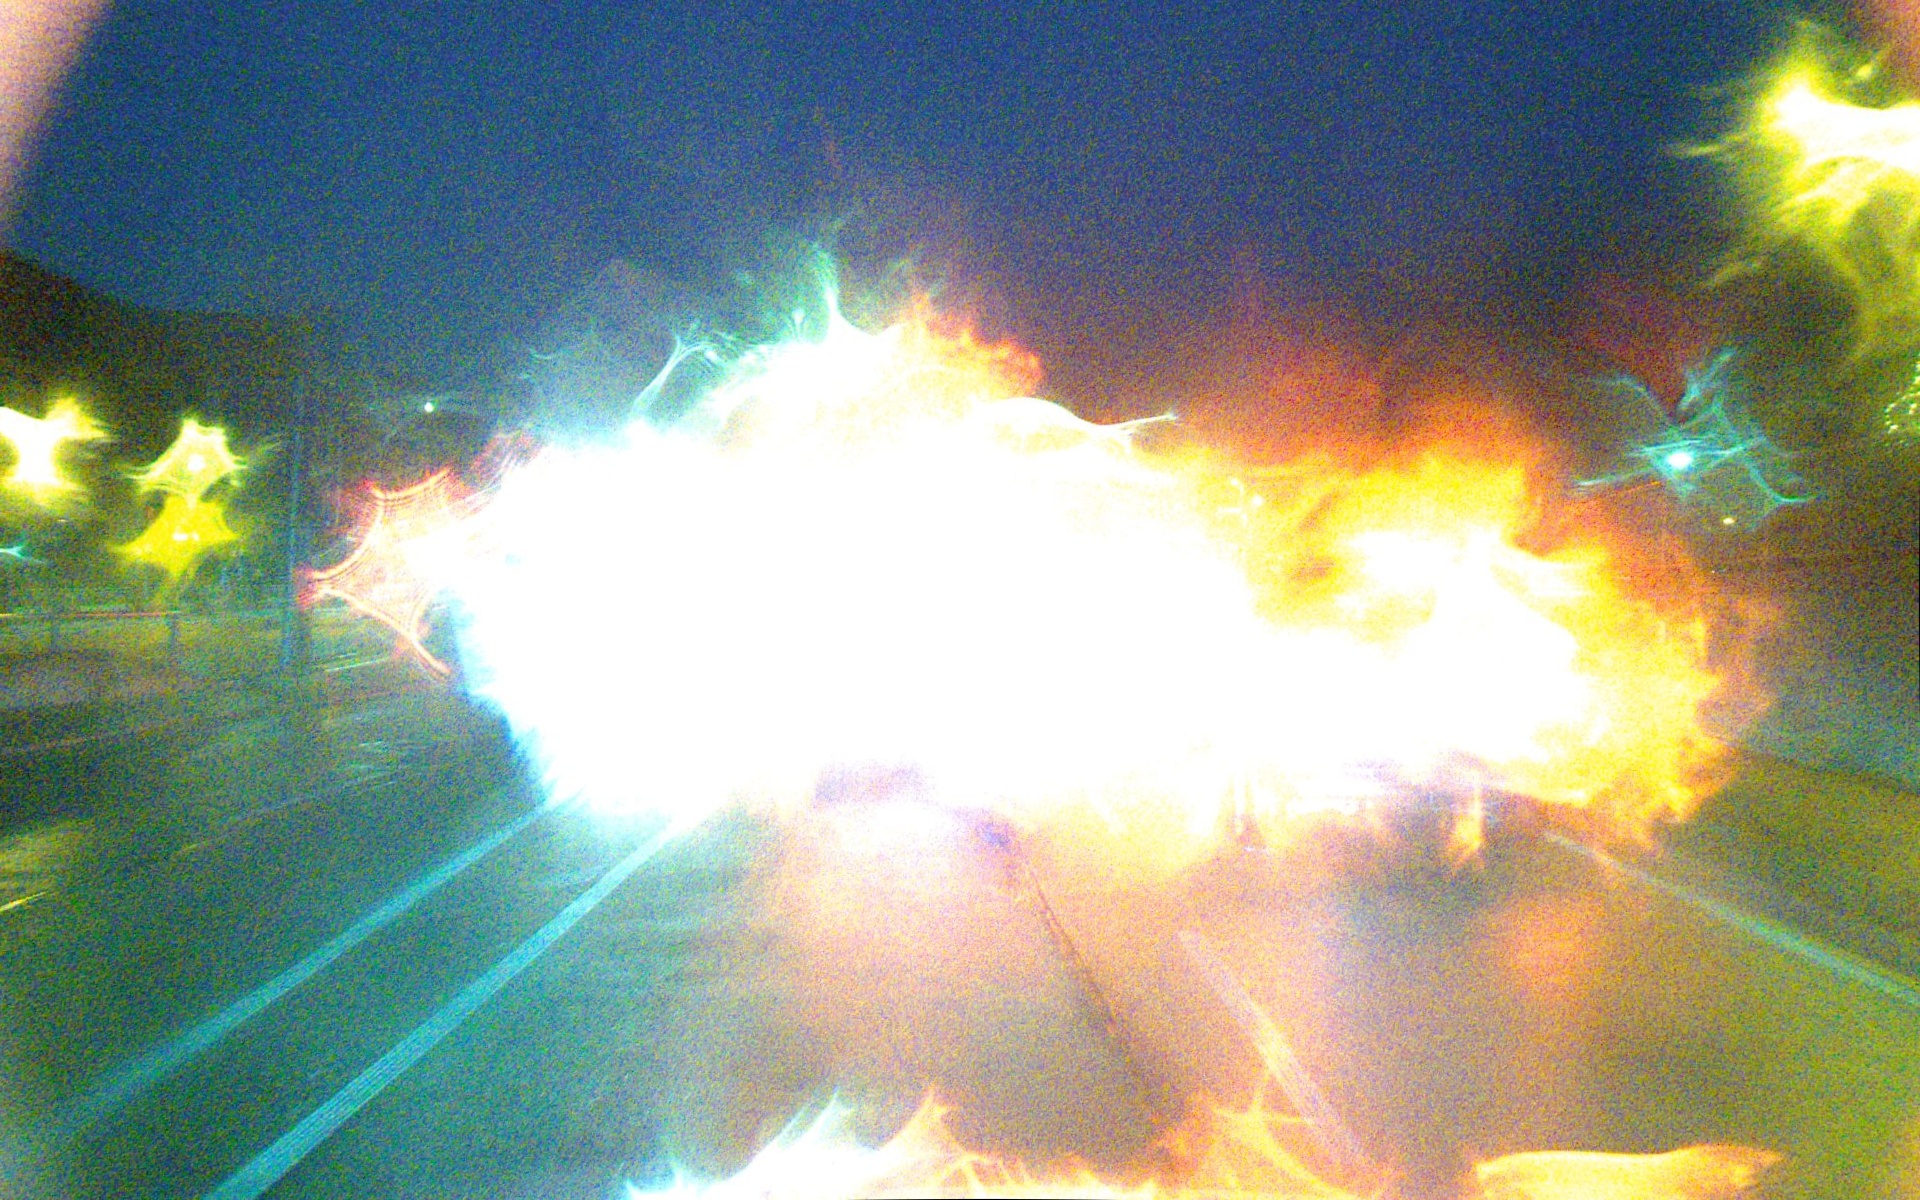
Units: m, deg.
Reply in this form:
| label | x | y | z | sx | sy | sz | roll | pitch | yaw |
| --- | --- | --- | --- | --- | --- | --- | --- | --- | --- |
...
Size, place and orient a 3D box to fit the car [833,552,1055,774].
| label | x | y | z | sx | sy | sz | roll | pitch | yaw |
| --- | --- | --- | --- | --- | --- | --- | --- | --- | --- |
| car | -0.130 | 0.485 | 14.549 | 1.660 | 1.658 | 3.852 | 1 | 0 | 0 |

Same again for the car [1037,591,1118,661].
| label | x | y | z | sx | sy | sz | roll | pitch | yaw |
| --- | --- | --- | --- | --- | --- | --- | --- | --- | --- |
| car | 2.583 | 0.563 | 37.016 | 1.629 | 1.475 | 4.050 | 0 | 0 | 2 |

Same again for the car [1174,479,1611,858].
| label | x | y | z | sx | sy | sz | roll | pitch | yaw |
| --- | --- | --- | --- | --- | --- | --- | --- | --- | --- |
| car | 2.586 | 0.339 | 10.969 | 1.902 | 2.006 | 4.219 | 1 | 1 | 2 |

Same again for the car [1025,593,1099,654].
| label | x | y | z | sx | sy | sz | roll | pitch | yaw |
| --- | --- | --- | --- | --- | --- | --- | --- | --- | --- |
| car | 2.630 | 0.577 | 43.459 | 1.629 | 1.475 | 4.049 | 1 | 1 | -1 |

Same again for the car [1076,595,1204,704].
| label | x | y | z | sx | sy | sz | roll | pitch | yaw |
| --- | --- | --- | --- | --- | --- | --- | --- | --- | --- |
| car | 2.696 | 0.692 | 25.546 | 1.731 | 1.475 | 4.220 | 1 | 1 | 3 |

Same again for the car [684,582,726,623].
| label | x | y | z | sx | sy | sz | roll | pitch | yaw |
| --- | --- | --- | --- | --- | --- | --- | --- | --- | --- |
| car | -12.662 | 0.097 | 81.953 | 1.957 | 1.945 | 4.732 | 1 | 0 | -9 |

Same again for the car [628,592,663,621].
| label | x | y | z | sx | sy | sz | roll | pitch | yaw |
| --- | --- | --- | --- | --- | --- | --- | --- | --- | --- |
| car | -21.269 | 0.418 | 111.807 | 1.960 | 1.925 | 4.724 | 0 | 0 | -15 |

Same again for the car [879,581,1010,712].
| label | x | y | z | sx | sy | sz | roll | pitch | yaw |
| --- | --- | --- | --- | --- | --- | --- | --- | --- | --- |
| car | -0.191 | 0.579 | 23.300 | 1.673 | 1.666 | 3.730 | -1 | 1 | 0 |

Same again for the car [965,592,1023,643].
| label | x | y | z | sx | sy | sz | roll | pitch | yaw |
| --- | --- | --- | --- | --- | --- | --- | --- | --- | --- |
| car | 1.010 | 0.512 | 50.569 | 1.629 | 1.475 | 4.049 | 1 | 0 | -1 |
